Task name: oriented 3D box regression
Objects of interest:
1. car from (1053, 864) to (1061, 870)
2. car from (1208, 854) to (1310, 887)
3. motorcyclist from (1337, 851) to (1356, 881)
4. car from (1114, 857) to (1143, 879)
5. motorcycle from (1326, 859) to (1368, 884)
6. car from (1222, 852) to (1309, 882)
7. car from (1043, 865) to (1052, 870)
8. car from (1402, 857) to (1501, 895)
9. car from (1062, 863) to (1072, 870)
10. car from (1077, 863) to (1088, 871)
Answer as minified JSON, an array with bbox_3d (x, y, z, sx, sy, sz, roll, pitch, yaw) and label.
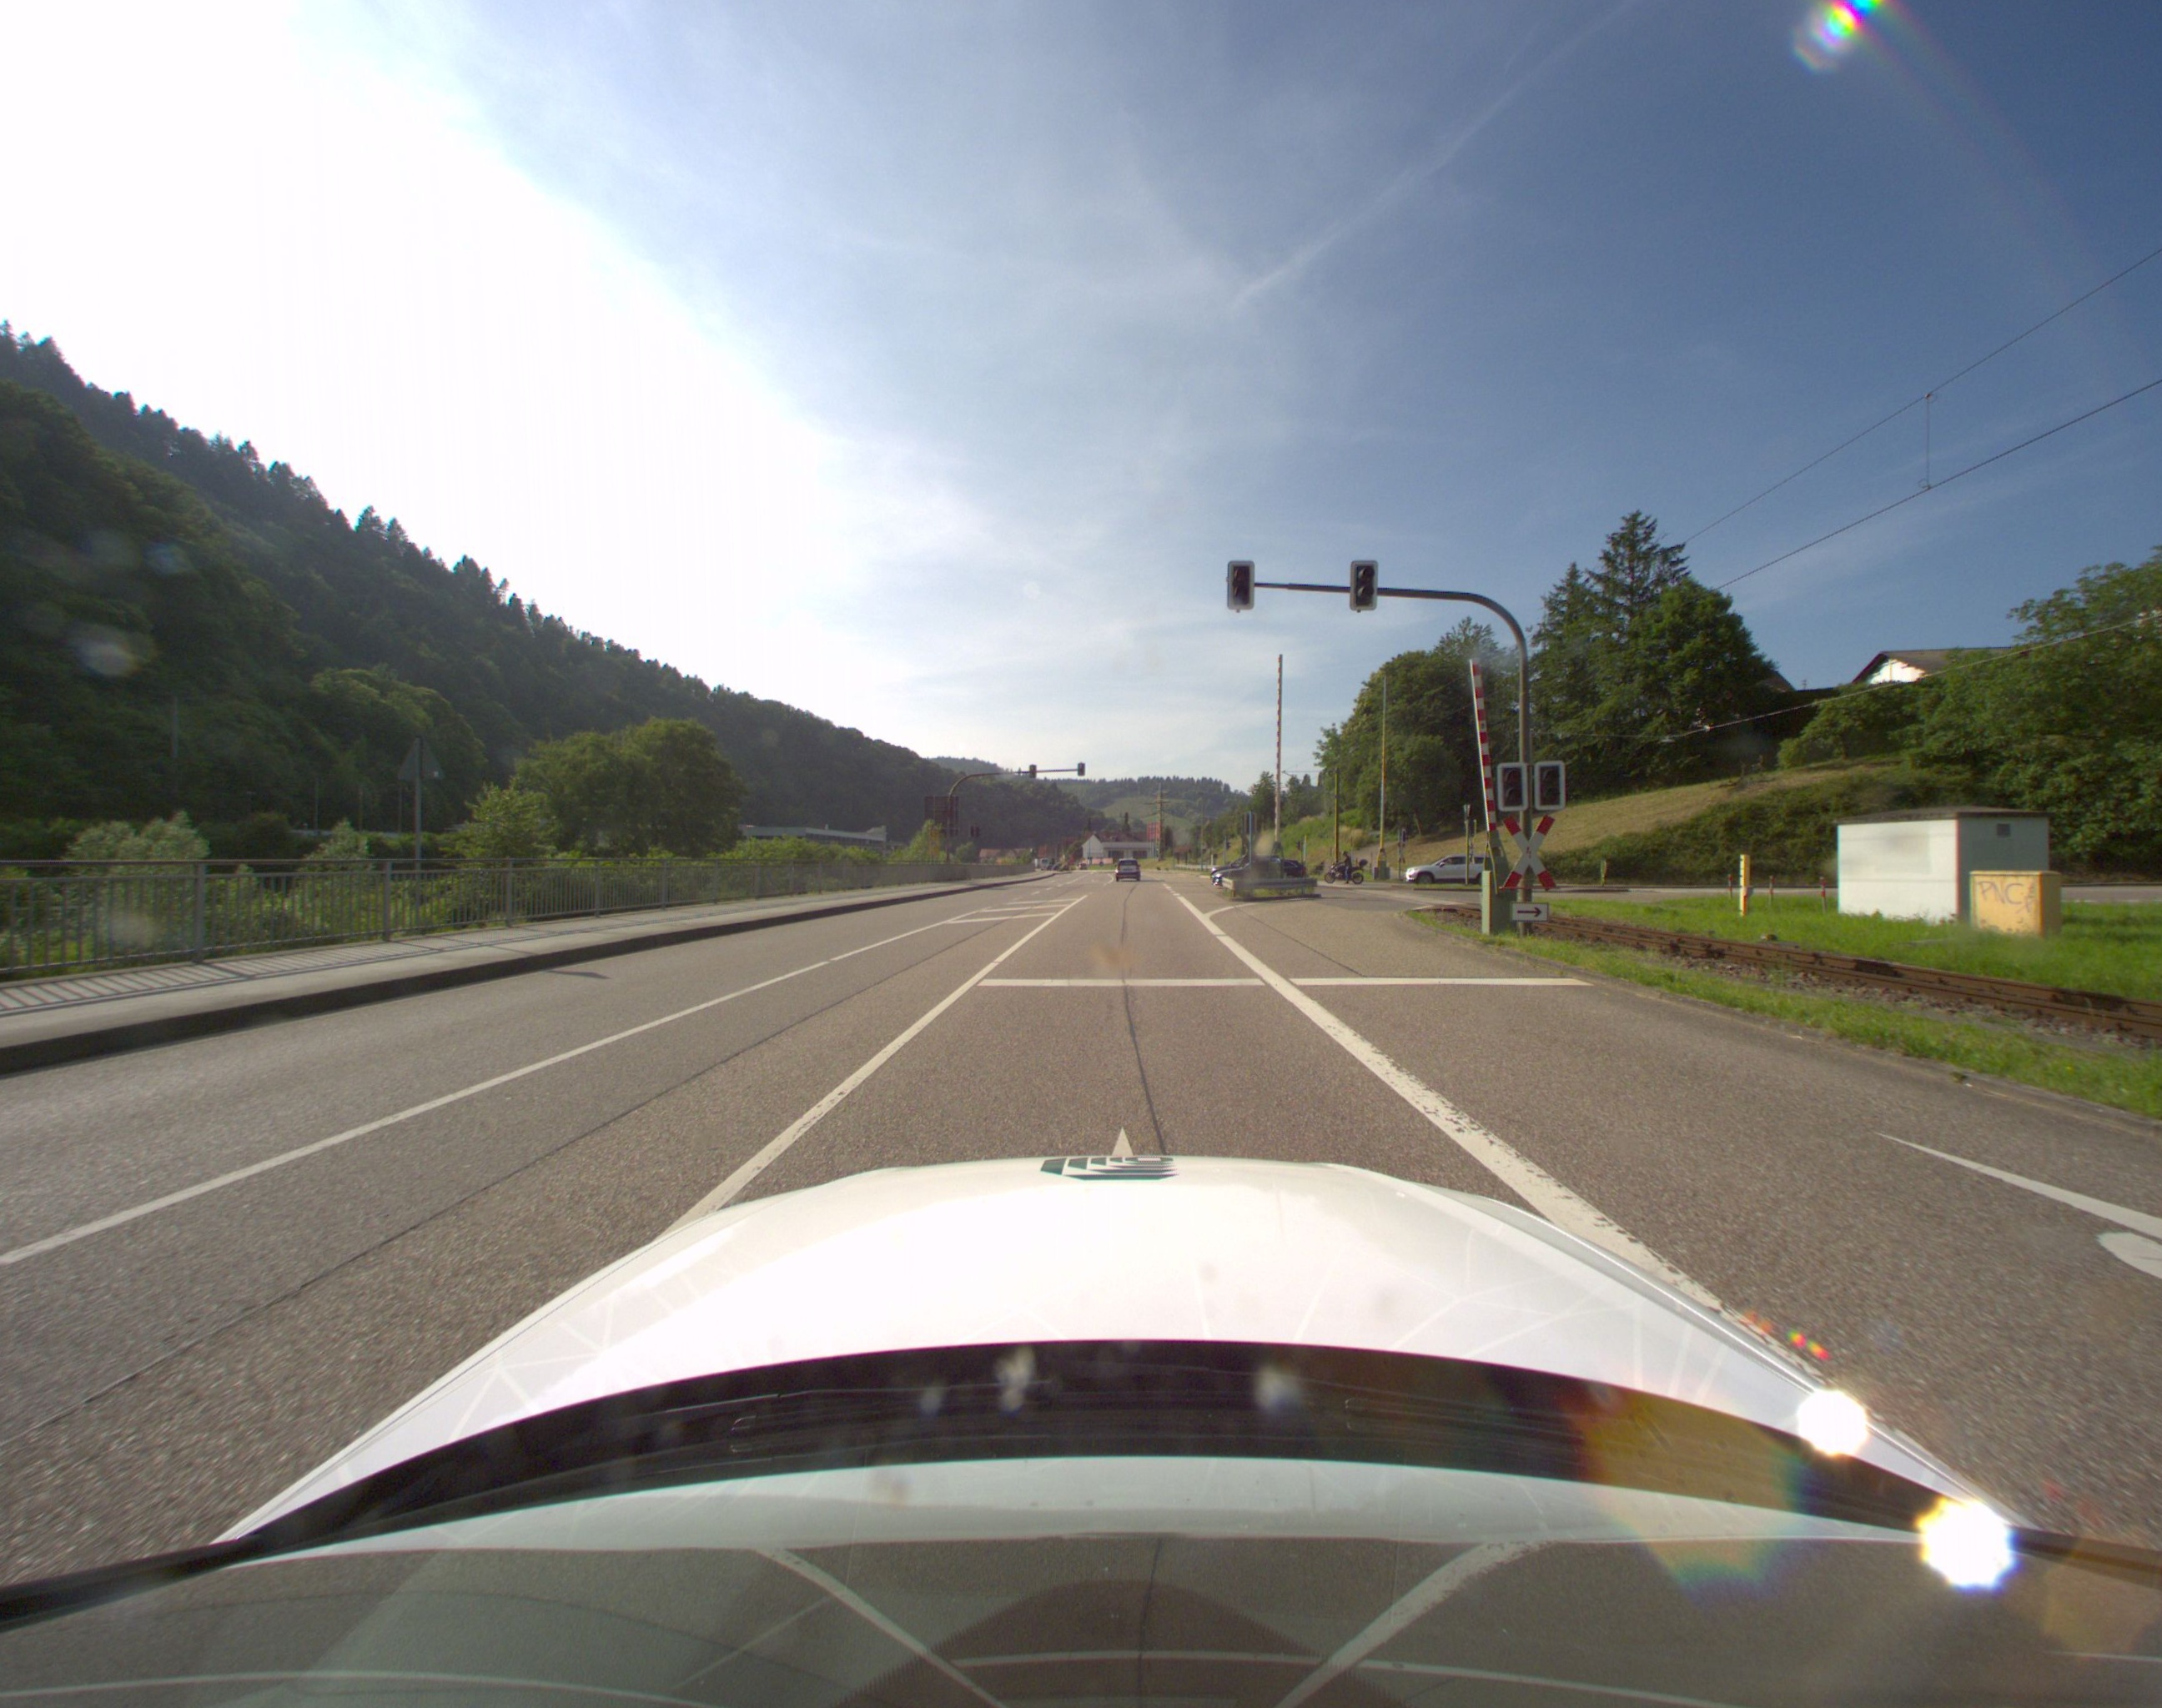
[{"bbox_3d":[-5.576,3.085,191.031,1.235,1.435,2.626,-2,0,-16],"label":"car"},{"bbox_3d":[8.659,0.799,40.025,4.703,1.470,1.844,-1,-1,5],"label":"car"},{"bbox_3d":[14.257,0.625,43.749,0.899,1.597,0.769,1,0,20],"label":"motorcyclist"},{"bbox_3d":[3.519,1.064,59.838,1.851,1.544,4.380,1,-1,6],"label":"car"},{"bbox_3d":[14.278,0.930,43.743,2.075,1.254,0.803,1,0,21],"label":"motorcycle"},{"bbox_3d":[10.431,0.738,46.262,4.694,1.660,1.937,-1,-1,12],"label":"car"},{"bbox_3d":[-8.559,3.454,208.183,1.456,1.435,2.920,1,0,-16],"label":"car"},{"bbox_3d":[17.573,1.004,38.814,4.081,1.687,1.843,1,0,16],"label":"car"},{"bbox_3d":[-2.952,2.785,176.999,1.456,1.435,2.920,1,0,-16],"label":"car"},{"bbox_3d":[0.280,2.517,160.855,1.456,1.435,2.921,1,0,-15],"label":"car"}]
